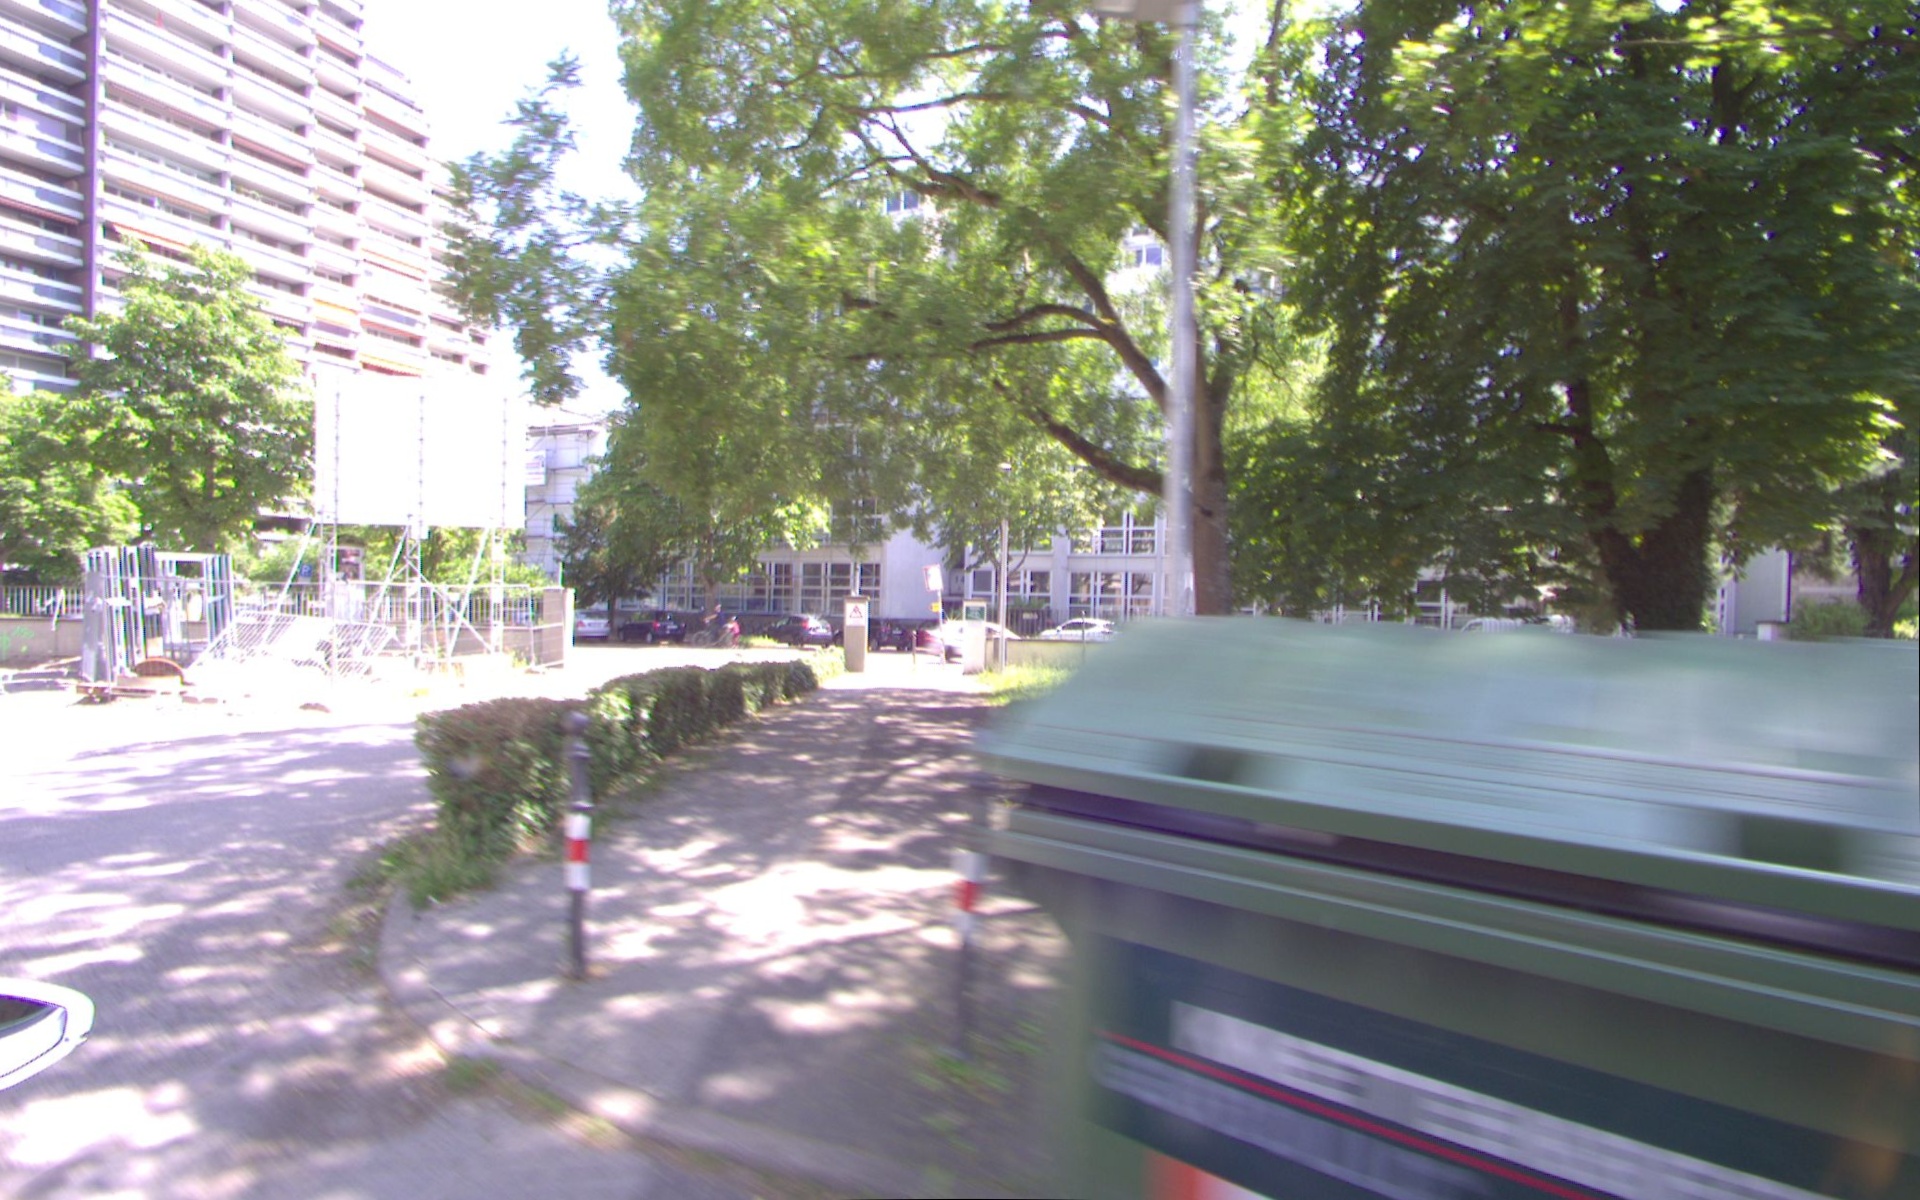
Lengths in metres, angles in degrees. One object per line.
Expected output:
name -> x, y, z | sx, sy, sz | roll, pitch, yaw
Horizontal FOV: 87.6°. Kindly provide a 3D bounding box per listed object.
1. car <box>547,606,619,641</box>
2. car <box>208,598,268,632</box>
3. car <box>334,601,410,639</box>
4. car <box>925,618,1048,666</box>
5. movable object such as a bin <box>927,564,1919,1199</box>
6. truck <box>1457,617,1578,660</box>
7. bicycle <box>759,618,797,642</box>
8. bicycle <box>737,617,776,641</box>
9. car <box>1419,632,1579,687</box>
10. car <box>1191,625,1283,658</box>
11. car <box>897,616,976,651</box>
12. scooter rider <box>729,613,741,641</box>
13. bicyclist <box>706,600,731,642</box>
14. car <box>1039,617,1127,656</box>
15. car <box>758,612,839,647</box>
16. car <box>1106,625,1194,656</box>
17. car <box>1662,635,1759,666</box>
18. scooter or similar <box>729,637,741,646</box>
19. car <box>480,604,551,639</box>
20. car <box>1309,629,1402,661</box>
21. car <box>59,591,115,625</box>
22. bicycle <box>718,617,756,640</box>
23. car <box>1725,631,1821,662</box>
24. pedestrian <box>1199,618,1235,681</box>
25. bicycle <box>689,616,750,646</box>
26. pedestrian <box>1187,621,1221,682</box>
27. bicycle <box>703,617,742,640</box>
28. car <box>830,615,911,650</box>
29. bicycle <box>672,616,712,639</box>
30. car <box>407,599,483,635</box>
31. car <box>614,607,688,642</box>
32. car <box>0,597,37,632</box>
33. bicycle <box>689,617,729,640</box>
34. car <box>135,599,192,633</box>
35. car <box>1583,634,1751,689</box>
car -> -16.773, 1.015, 44.509 | 3.639, 1.483, 1.623 | 0, -1, 45
car -> -31.389, 0.631, 43.517 | 1.623, 1.405, 3.641 | 2, -1, -44
car -> -24.315, 0.809, 41.378 | 3.634, 1.483, 1.626 | 0, -1, 40
car -> 0.863, 1.421, 34.233 | 4.064, 1.483, 1.765 | 1, 0, -2
movable object such as a bin -> 0.827, 0.735, 1.413 | 1.316, 1.489, 1.175 | 0, -1, 37
truck -> 25.368, 1.705, 45.624 | 4.590, 1.856, 1.643 | 0, -1, 41
bicycle -> -9.338, 1.520, 51.364 | 0.769, 1.203, 2.427 | 1, -1, 21
bicycle -> -10.502, 1.490, 51.792 | 0.769, 1.203, 2.427 | 1, -1, 21
car -> 16.098, 1.767, 30.002 | 3.861, 1.483, 1.706 | 1, 0, -2
car -> 12.465, 1.843, 45.128 | 1.596, 1.322, 3.708 | 2, -1, -43
car -> -1.079, 1.505, 45.403 | 1.597, 1.455, 3.567 | 2, -1, -44
scooter rider -> -9.223, 1.115, 41.002 | 0.409, 1.149, 0.359 | 1, 0, -6
bicyclist -> -10.003, 0.877, 41.559 | 0.883, 1.687, 0.858 | 1, 0, -6
car -> 5.537, 1.615, 45.372 | 3.700, 1.641, 1.600 | 0, -1, 40
car -> -7.304, 1.316, 45.144 | 3.633, 1.483, 1.632 | 0, -1, 40
car -> 8.599, 1.813, 45.509 | 1.597, 1.297, 3.707 | 2, -1, -44
car -> 34.771, 2.312, 46.454 | 1.479, 1.308, 3.318 | 1, -1, -35
scooter or similar -> -9.223, 1.690, 40.997 | 0.438, 0.363, 0.365 | 1, -1, -6
car -> -19.554, 0.929, 44.013 | 3.639, 1.483, 1.623 | 0, -1, 45
car -> 18.251, 2.055, 46.263 | 3.697, 1.308, 1.601 | 0, -1, 38
car -> -38.054, 0.333, 43.625 | 1.623, 1.405, 3.641 | 2, -1, -44
bicycle -> -11.616, 1.494, 52.253 | 0.769, 1.173, 2.380 | 1, -1, 21
car -> 37.695, 2.147, 46.465 | 1.483, 1.308, 3.309 | 2, -1, -43
pedestrian -> 6.695, 1.288, 26.141 | 0.718, 1.609, 0.741 | 1, -2, -2
bicycle -> -9.970, 1.282, 41.566 | 2.393, 1.167, 0.786 | 1, 0, -7
pedestrian -> 6.674, 1.407, 27.402 | 0.718, 1.609, 0.741 | 1, -2, 0
bicycle -> -12.438, 1.476, 52.554 | 0.769, 1.173, 2.380 | 1, -1, 21
car -> -4.059, 1.429, 45.069 | 3.637, 1.464, 1.599 | 0, -1, 43
bicycle -> -14.220, 1.442, 53.164 | 0.769, 1.173, 2.380 | 1, -1, 21
car -> -22.230, 0.711, 43.187 | 3.634, 1.483, 1.626 | 0, -1, 40
car -> -13.776, 1.083, 44.627 | 3.639, 1.483, 1.623 | 0, -1, 45
car -> -40.416, 0.598, 42.603 | 1.623, 1.405, 3.641 | 2, -1, -44
bicycle -> -13.225, 1.473, 52.818 | 0.769, 1.173, 2.380 | 1, -1, 21
car -> -34.727, 0.684, 43.627 | 1.623, 1.405, 3.641 | 2, -1, -44
car -> 21.128, 1.831, 30.017 | 3.861, 1.483, 1.706 | 1, 0, -2
